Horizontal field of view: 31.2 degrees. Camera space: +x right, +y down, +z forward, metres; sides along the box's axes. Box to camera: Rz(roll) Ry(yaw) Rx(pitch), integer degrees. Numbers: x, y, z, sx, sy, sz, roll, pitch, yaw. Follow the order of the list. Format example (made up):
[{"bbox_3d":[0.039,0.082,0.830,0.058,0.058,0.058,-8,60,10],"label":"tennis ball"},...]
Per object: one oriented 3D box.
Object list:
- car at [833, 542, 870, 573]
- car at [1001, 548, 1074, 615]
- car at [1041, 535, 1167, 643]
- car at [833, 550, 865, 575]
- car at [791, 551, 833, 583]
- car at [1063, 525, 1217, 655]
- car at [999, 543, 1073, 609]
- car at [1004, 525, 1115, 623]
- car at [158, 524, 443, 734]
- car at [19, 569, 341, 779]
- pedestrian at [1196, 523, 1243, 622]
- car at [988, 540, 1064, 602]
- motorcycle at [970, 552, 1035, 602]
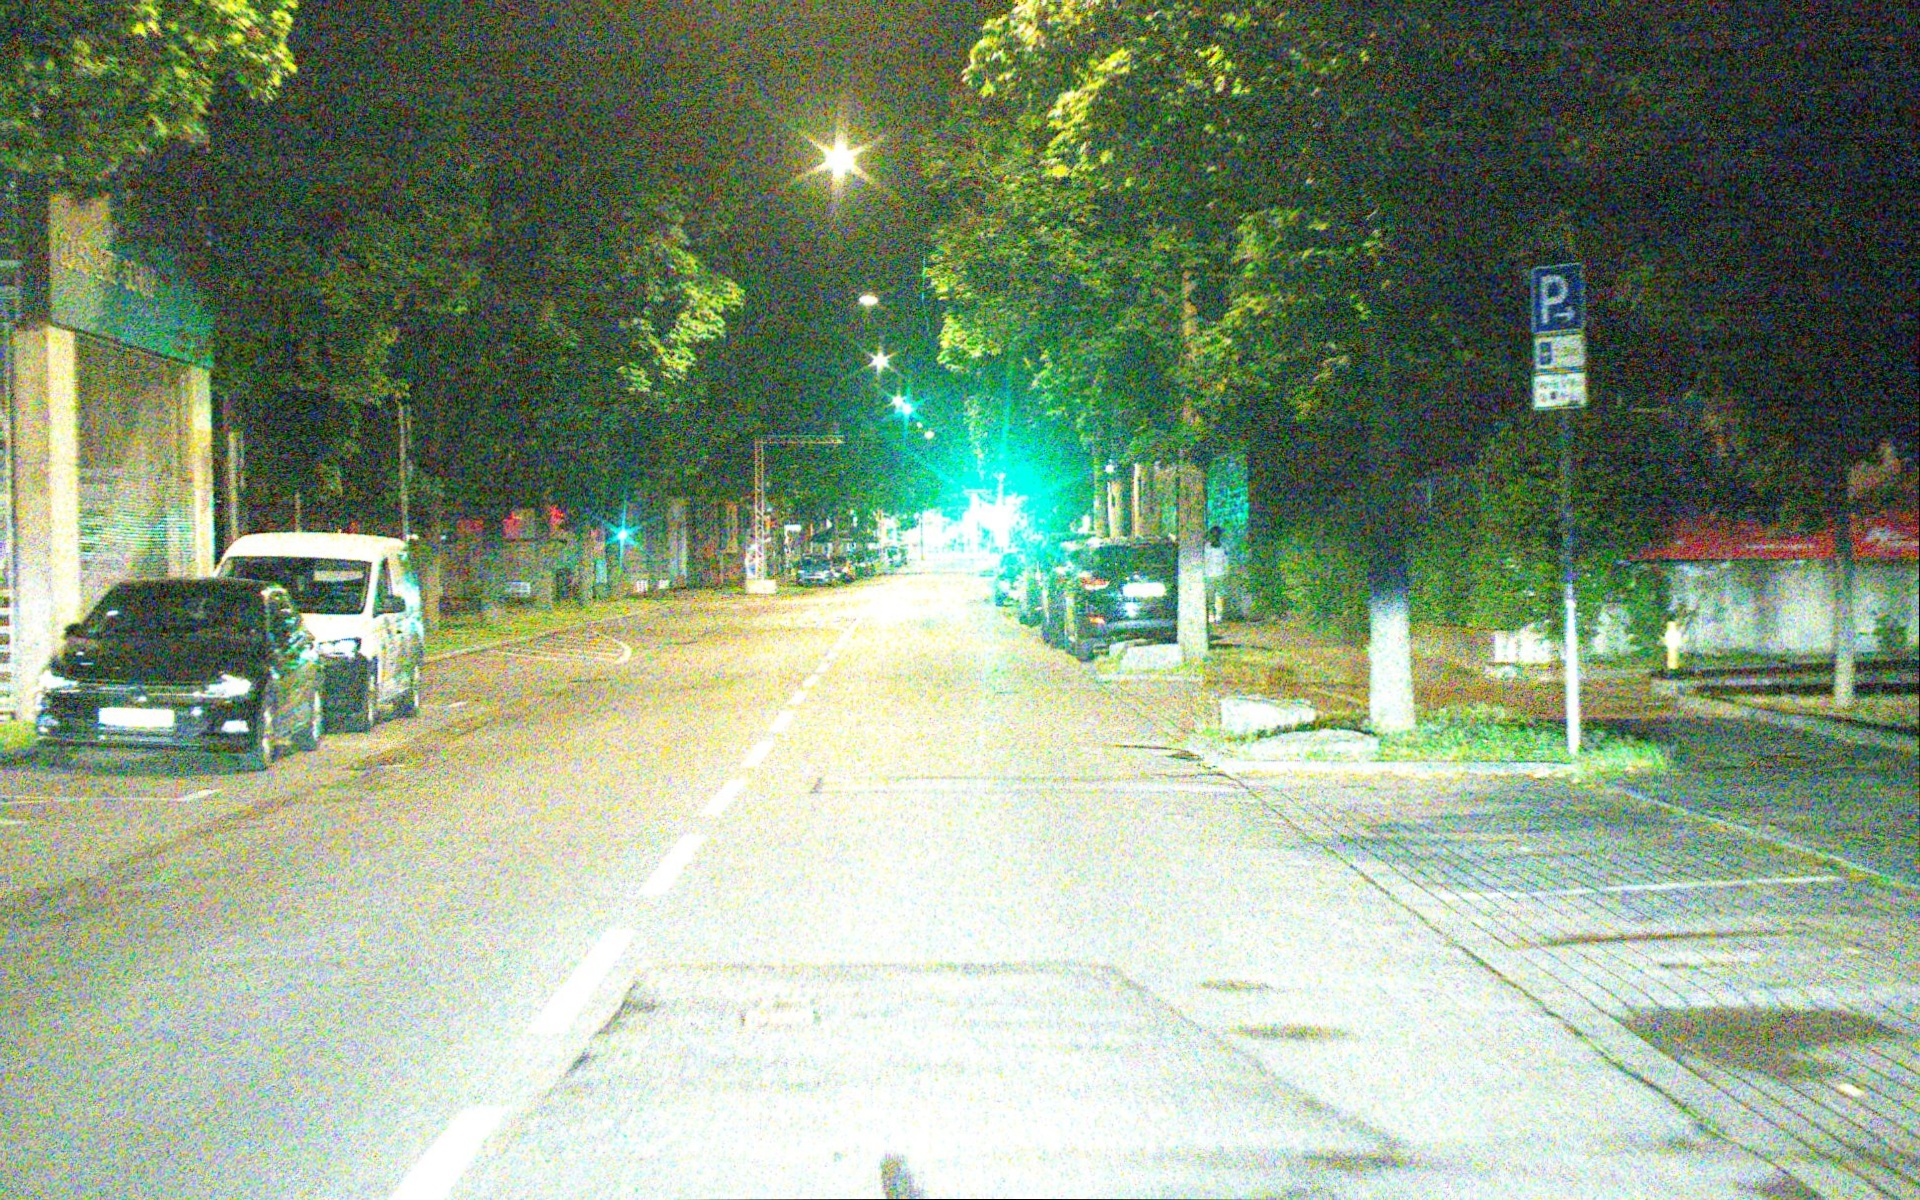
[{"bbox_3d":[-5.348,-2.114,170.098,1.740,1.411,3.752,0,2,0],"label":"car"},{"bbox_3d":[1.712,-0.426,76.928,1.520,1.391,3.984,-2,1,0],"label":"car"},{"bbox_3d":[2.244,-0.202,53.841,1.853,1.599,4.209,-1,1,2],"label":"car"},{"bbox_3d":[-6.396,-2.152,198.709,1.740,1.411,3.752,0,1,0],"label":"car"},{"bbox_3d":[-6.701,-1.493,155.665,1.740,1.411,3.752,0,1,0],"label":"car"},{"bbox_3d":[2.457,-0.173,47.885,1.853,1.648,4.209,-3,1,0],"label":"car"},{"bbox_3d":[1.863,-0.618,84.924,1.591,1.529,4.138,-3,1,-1],"label":"car"},{"bbox_3d":[1.939,-0.529,68.157,1.771,1.800,4.278,-3,1,-3],"label":"car"},{"bbox_3d":[-6.239,0.219,32.979,1.822,1.805,4.210,2,1,1],"label":"car"},{"bbox_3d":[-6.075,0.527,27.175,1.700,1.428,3.829,2,1,-1],"label":"car"},{"bbox_3d":[4.603,-0.490,61.121,0.705,1.716,0.821,-2,1,0],"label":"pedestrian"},{"bbox_3d":[1.752,-0.797,92.227,1.853,1.585,4.301,-1,1,-1],"label":"car"},{"bbox_3d":[1.096,-0.595,88.449,0.637,1.265,2.060,0,1,34],"label":"motorcycle"}]
